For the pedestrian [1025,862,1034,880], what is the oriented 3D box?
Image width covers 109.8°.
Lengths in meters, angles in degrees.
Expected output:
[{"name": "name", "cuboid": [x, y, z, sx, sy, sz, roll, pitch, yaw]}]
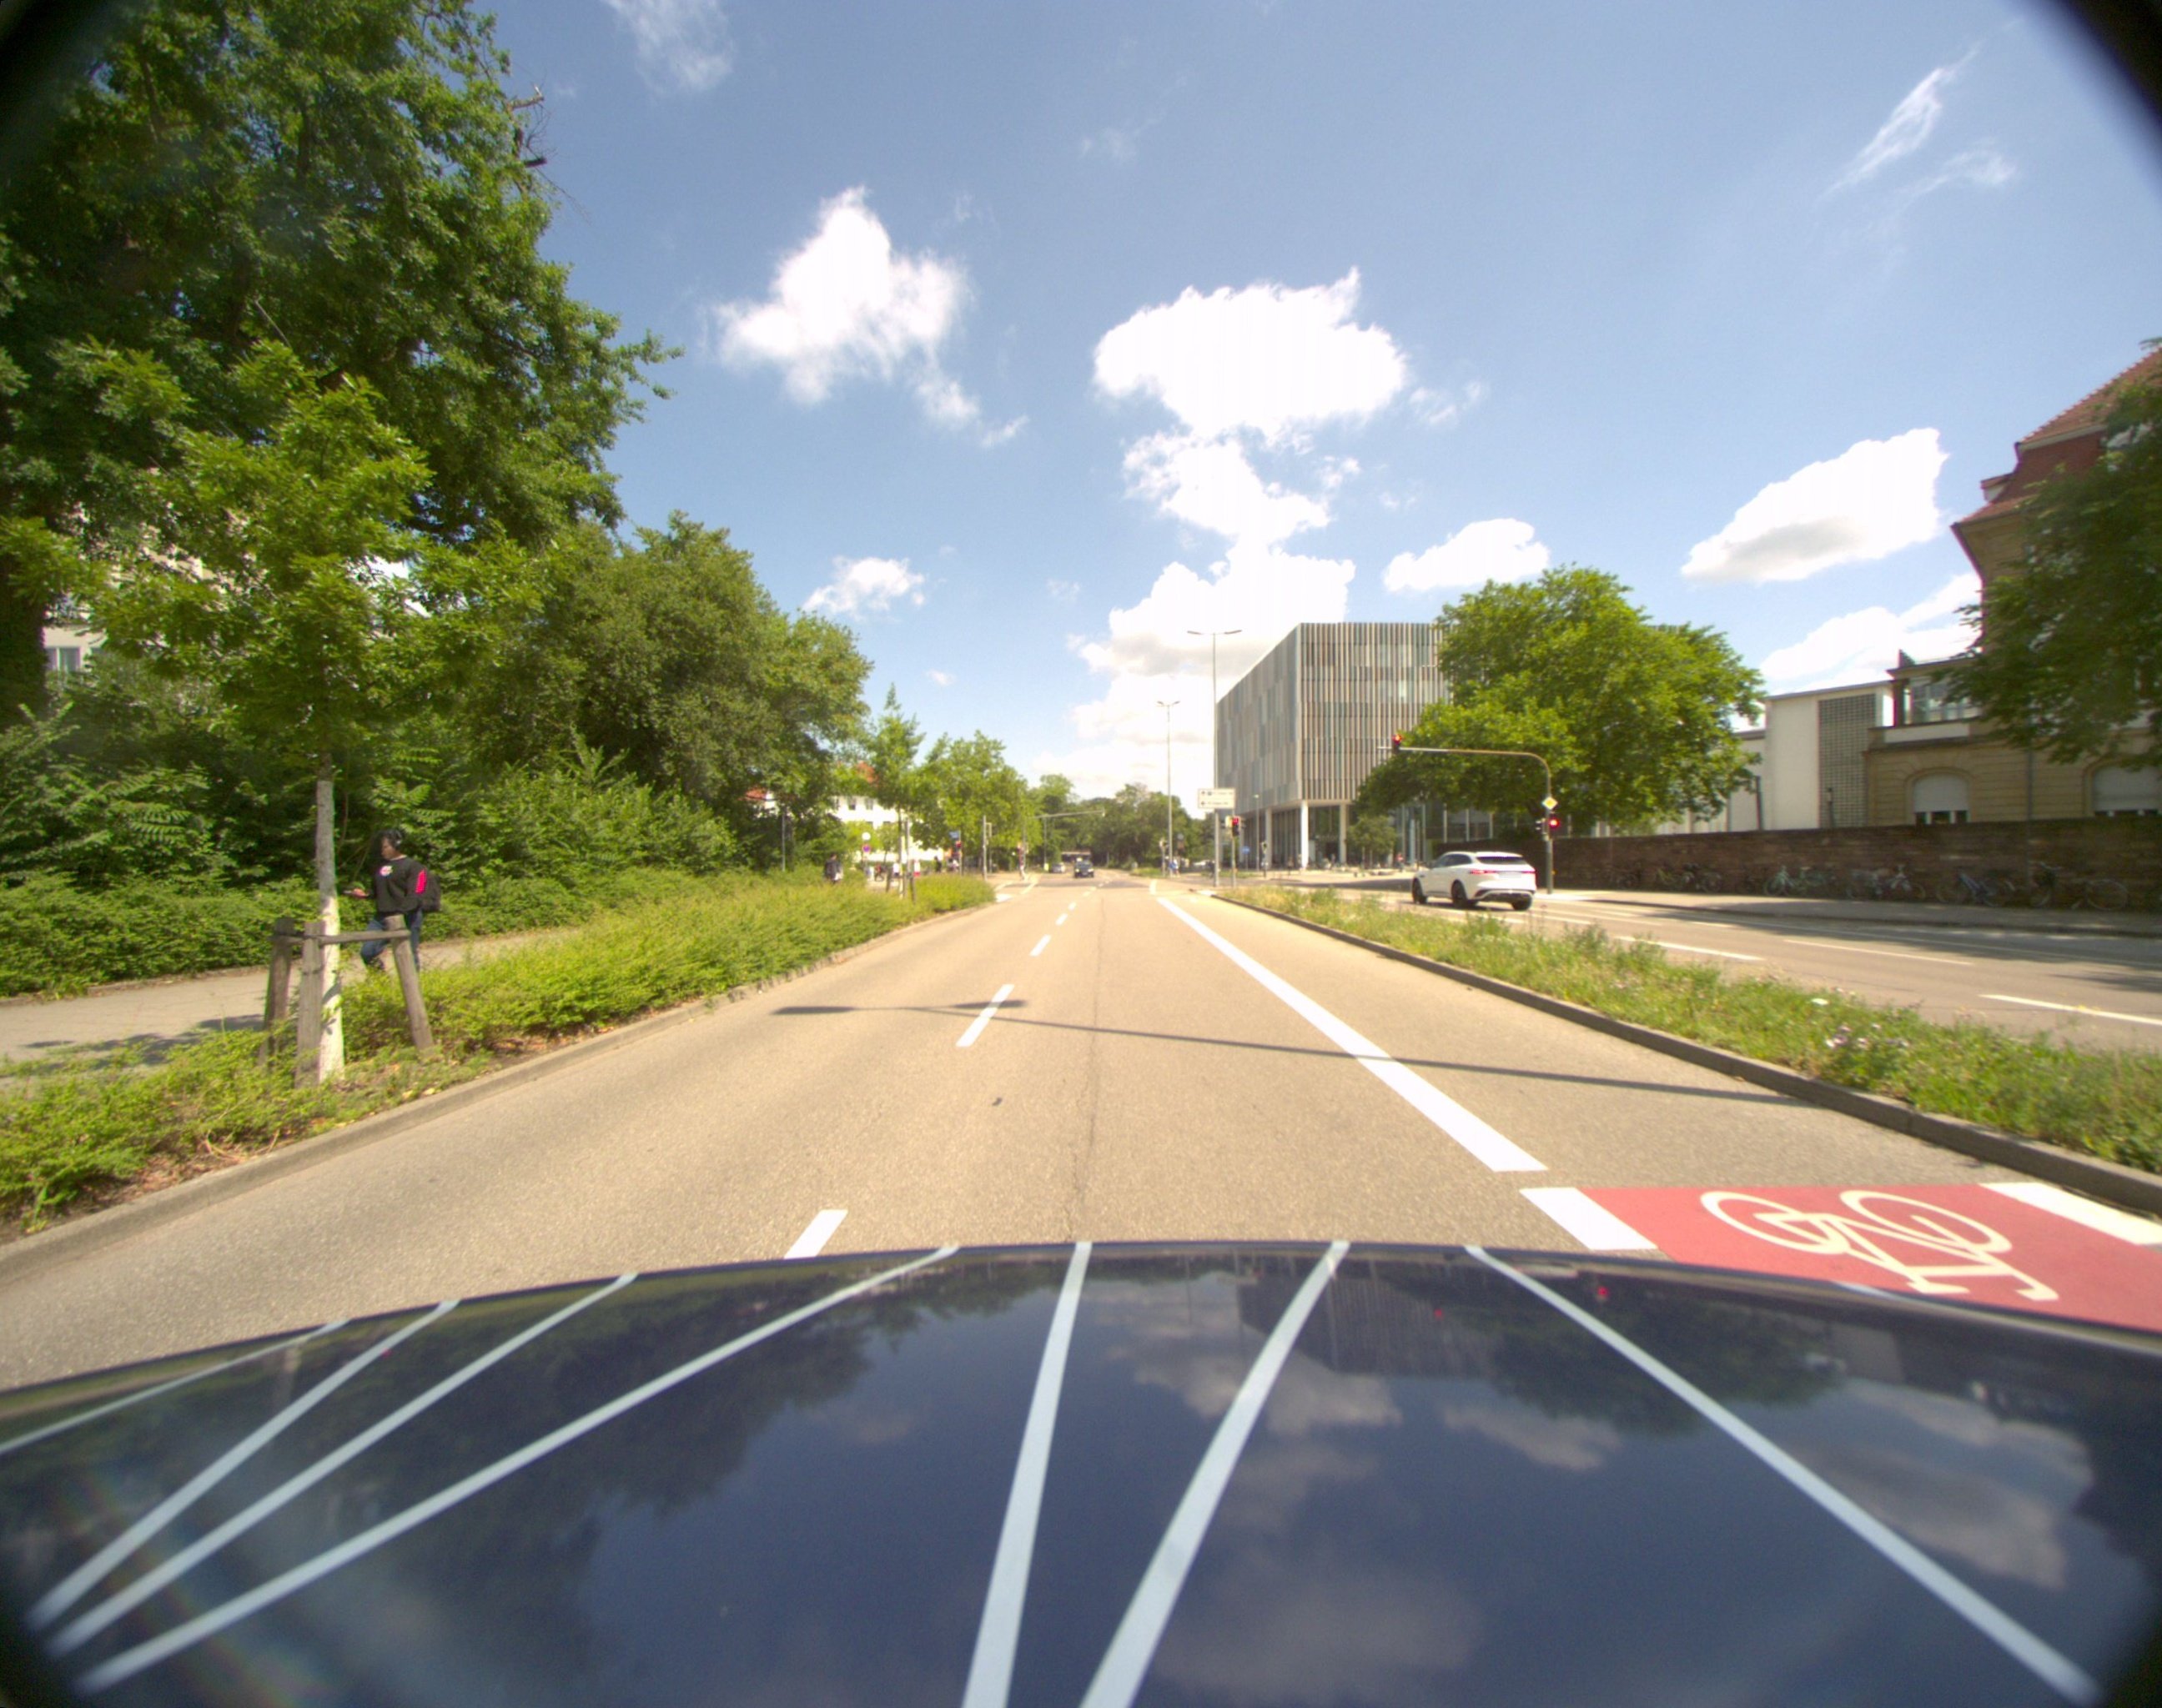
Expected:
[{"name": "pedestrian", "cuboid": [-4.372, 1.437, 64.578, 0.591, 1.495, 0.416, -1, 1, -17]}]

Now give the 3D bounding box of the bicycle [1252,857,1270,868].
[{"name": "bicycle", "cuboid": [25.161, 1.141, 106.229, 2.509, 1.486, 0.730, -1, 0, 11]}]

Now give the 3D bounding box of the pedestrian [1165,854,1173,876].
[{"name": "pedestrian", "cuboid": [7.522, 0.952, 64.941, 0.646, 1.815, 0.689, 0, 0, 1]}]

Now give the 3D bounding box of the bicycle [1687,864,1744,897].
[{"name": "bicycle", "cuboid": [22.983, 0.927, 27.563, 0.623, 1.145, 1.593, -1, 0, -7]}]

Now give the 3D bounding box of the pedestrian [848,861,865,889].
[{"name": "pedestrian", "cuboid": [-13.199, 1.232, 44.672, 0.633, 1.617, 0.647, 0, 1, 36]}]

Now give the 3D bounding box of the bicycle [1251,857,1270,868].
[{"name": "bicycle", "cuboid": [24.863, 1.154, 105.226, 2.451, 1.486, 0.621, -1, 0, 1]}]

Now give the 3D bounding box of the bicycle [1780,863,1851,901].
[{"name": "bicycle", "cuboid": [23.376, 0.866, 24.209, 0.403, 1.145, 1.591, -1, 0, -22]}]

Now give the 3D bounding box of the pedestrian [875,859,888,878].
[{"name": "pedestrian", "cuboid": [-16.557, 1.211, 63.069, 1.064, 1.588, 0.971, -1, 0, -14]}]

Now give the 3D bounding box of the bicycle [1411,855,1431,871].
[{"name": "bicycle", "cuboid": [34.044, 0.924, 76.068, 0.997, 1.543, 3.422, 0, 0, 38]}]

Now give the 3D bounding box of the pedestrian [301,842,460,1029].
[{"name": "pedestrian", "cuboid": [-6.756, 0.750, 7.373, 0.718, 1.711, 0.837, -1, 1, 2]}]

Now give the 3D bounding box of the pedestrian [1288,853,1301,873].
[{"name": "pedestrian", "cuboid": [20.147, 0.839, 71.777, 0.969, 1.914, 0.880, -1, 1, 29]}]

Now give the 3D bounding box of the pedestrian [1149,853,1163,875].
[{"name": "pedestrian", "cuboid": [6.429, 0.853, 65.194, 1.108, 1.914, 0.972, -1, 1, 7]}]

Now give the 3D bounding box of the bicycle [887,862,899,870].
[{"name": "bicycle", "cuboid": [-22.890, 1.430, 92.582, 1.428, 0.945, 0.352, -1, 0, -5]}]

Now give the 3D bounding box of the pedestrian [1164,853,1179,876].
[{"name": "pedestrian", "cuboid": [7.619, 0.901, 64.003, 1.108, 1.914, 0.972, -1, 1, 4]}]

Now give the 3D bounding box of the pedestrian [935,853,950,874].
[{"name": "pedestrian", "cuboid": [-12.626, 0.882, 69.164, 1.030, 1.914, 0.972, -1, 1, 9]}]

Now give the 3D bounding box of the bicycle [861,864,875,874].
[{"name": "bicycle", "cuboid": [-22.176, 1.552, 78.995, 1.371, 0.945, 0.352, -1, 0, -5]}]

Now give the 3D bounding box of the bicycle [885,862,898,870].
[{"name": "bicycle", "cuboid": [-22.826, 1.440, 91.490, 1.428, 0.945, 0.352, -1, 0, -5]}]

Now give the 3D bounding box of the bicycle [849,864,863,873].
[{"name": "bicycle", "cuboid": [-24.445, 1.538, 82.722, 1.412, 0.945, 0.352, -1, 0, -5]}]

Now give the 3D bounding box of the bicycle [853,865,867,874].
[{"name": "bicycle", "cuboid": [-22.601, 1.568, 77.711, 1.371, 0.945, 0.352, -1, 0, -5]}]

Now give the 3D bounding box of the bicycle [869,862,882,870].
[{"name": "bicycle", "cuboid": [-24.823, 1.456, 91.761, 1.428, 0.945, 0.352, -1, 0, -5]}]

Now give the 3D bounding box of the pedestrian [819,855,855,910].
[{"name": "pedestrian", "cuboid": [-7.831, 0.910, 24.420, 0.815, 1.711, 0.930, -1, 1, 2]}]

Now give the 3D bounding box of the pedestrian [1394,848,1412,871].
[{"name": "pedestrian", "cuboid": [27.516, 0.484, 65.003, 1.109, 1.914, 0.972, -1, 1, -2]}]

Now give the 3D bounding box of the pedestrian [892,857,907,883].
[{"name": "pedestrian", "cuboid": [-13.293, 1.151, 55.798, 0.878, 1.861, 0.971, -1, 1, -3]}]

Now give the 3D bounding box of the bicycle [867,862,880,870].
[{"name": "bicycle", "cuboid": [-24.892, 1.463, 91.093, 1.428, 0.945, 0.352, -1, 0, -5]}]

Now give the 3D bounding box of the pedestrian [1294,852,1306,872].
[{"name": "pedestrian", "cuboid": [21.345, 0.811, 74.168, 0.969, 1.914, 0.880, -1, 1, 27]}]

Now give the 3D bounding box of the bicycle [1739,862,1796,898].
[{"name": "bicycle", "cuboid": [23.344, 0.866, 25.880, 0.413, 1.145, 1.594, -1, 0, -4]}]

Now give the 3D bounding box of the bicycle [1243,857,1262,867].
[{"name": "bicycle", "cuboid": [24.604, 1.121, 108.917, 2.511, 1.486, 0.621, -1, 0, 1]}]

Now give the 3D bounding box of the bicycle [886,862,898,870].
[{"name": "bicycle", "cuboid": [-22.906, 1.436, 92.005, 1.428, 0.945, 0.352, -1, 0, -5]}]

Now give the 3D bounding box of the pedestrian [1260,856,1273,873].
[{"name": "pedestrian", "cuboid": [17.404, 0.960, 71.281, 0.972, 1.619, 0.878, -1, 1, -11]}]

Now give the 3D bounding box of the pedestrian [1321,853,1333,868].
[{"name": "pedestrian", "cuboid": [28.835, 0.780, 89.005, 1.011, 1.697, 1.213, -1, 0, 35]}]

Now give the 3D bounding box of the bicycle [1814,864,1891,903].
[{"name": "bicycle", "cuboid": [23.405, 0.868, 23.081, 0.403, 1.145, 1.590, -1, 0, -32]}]
